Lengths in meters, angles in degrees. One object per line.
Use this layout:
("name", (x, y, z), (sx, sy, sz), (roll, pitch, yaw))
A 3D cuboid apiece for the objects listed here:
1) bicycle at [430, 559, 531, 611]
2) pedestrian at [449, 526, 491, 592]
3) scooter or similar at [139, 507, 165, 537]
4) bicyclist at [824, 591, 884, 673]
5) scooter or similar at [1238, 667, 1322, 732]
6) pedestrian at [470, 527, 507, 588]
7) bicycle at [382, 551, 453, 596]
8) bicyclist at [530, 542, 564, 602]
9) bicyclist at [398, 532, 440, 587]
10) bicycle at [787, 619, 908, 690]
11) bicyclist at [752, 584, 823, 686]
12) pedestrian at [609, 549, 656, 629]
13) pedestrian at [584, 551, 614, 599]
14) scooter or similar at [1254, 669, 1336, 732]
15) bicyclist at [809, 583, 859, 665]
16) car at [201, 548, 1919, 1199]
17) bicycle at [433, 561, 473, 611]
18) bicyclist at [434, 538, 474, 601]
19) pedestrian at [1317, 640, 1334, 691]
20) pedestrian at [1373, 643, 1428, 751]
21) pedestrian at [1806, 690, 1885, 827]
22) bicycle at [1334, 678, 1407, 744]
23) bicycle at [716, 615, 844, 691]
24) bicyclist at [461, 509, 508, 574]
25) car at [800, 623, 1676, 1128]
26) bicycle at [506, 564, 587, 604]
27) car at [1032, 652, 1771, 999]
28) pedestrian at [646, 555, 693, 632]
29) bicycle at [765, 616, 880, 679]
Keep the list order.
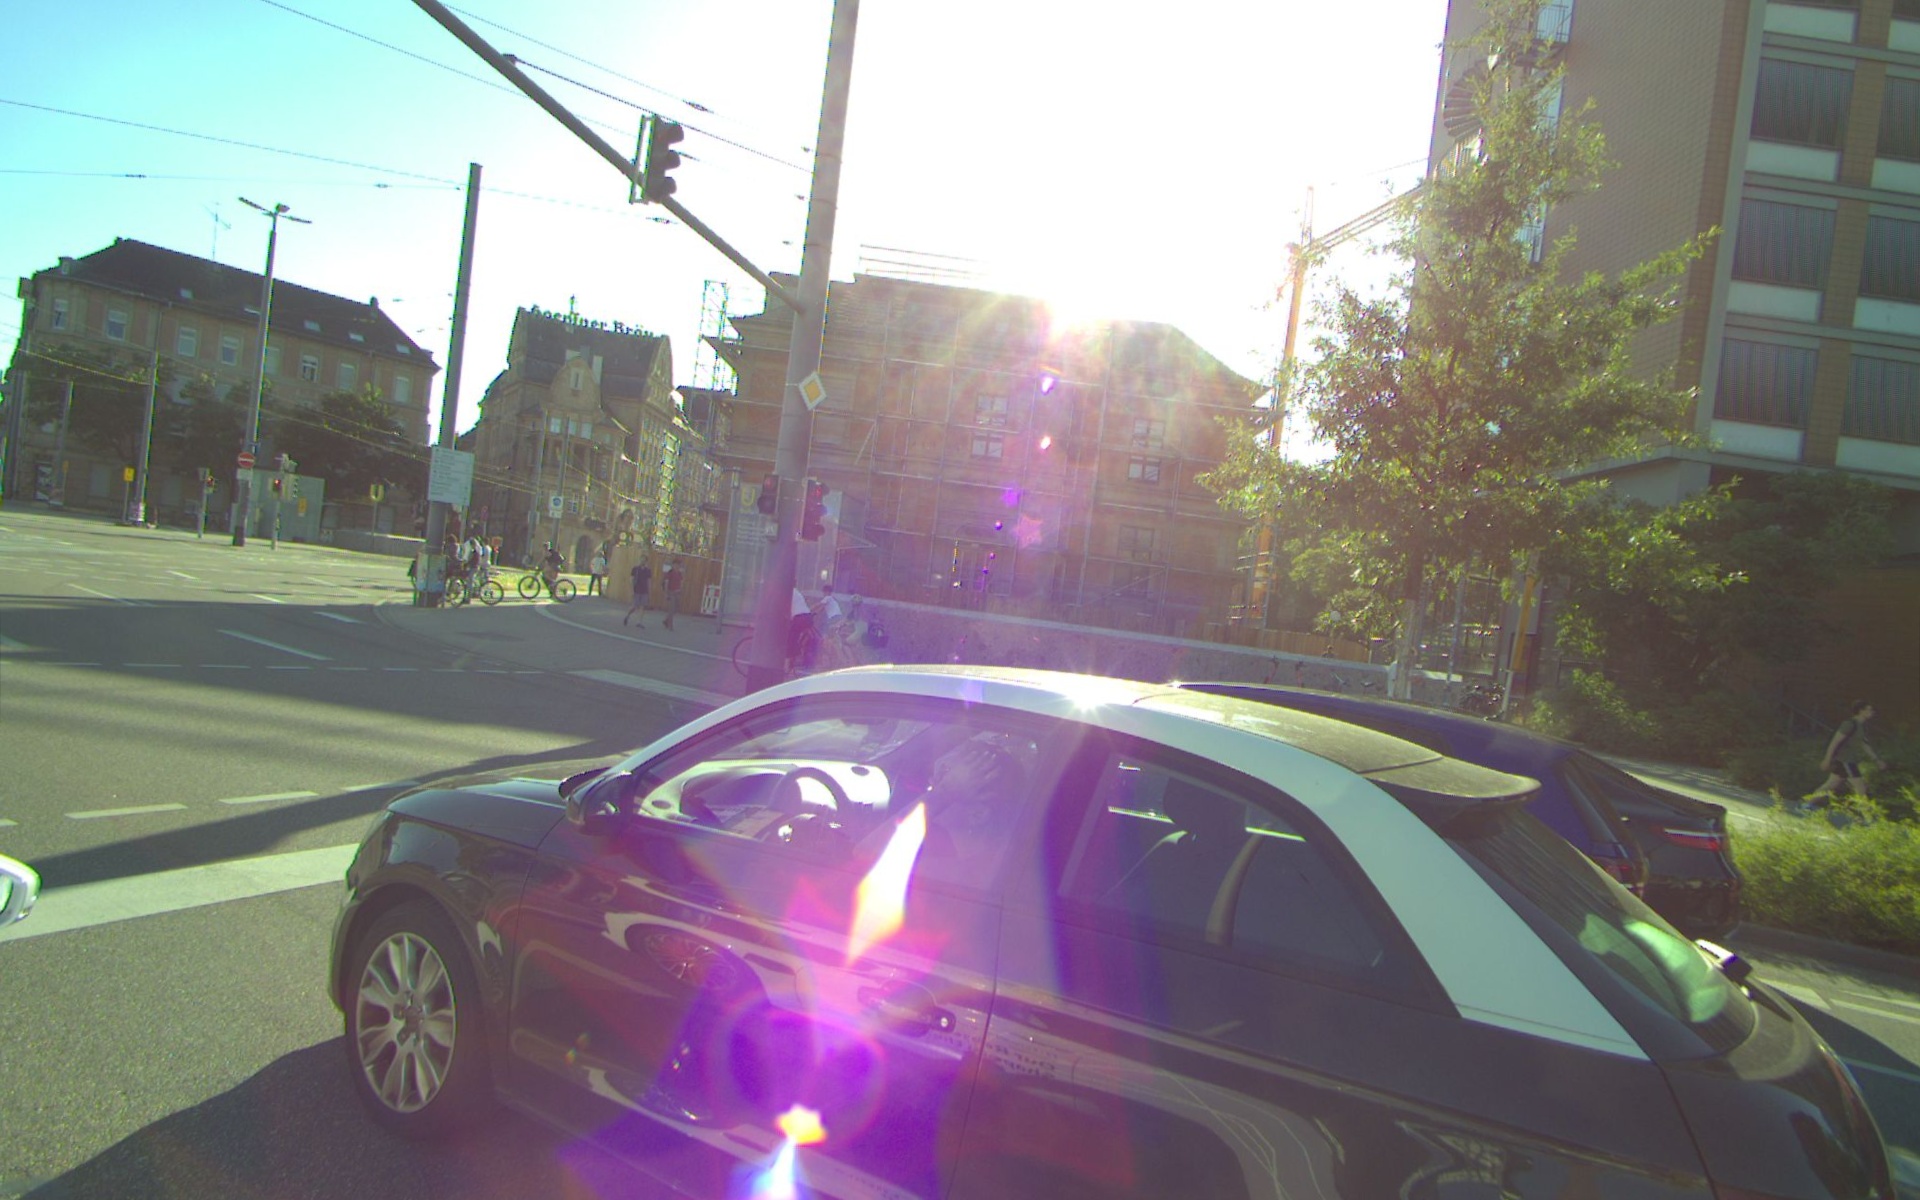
("bicycle", (-12.767, -0.382, 26.817), (2.294, 1.061, 0.696), (9, -2, -28))
("pedestrian", (-16.317, -1.361, 33.533), (0.748, 2.037, 0.733), (7, -1, 25))
("scooter or similar", (-42.186, -4.080, 52.542), (0.784, 1.392, 1.885), (8, -2, -44))
("bicyclist", (-1.856, 0.559, 17.625), (0.662, 1.330, 0.617), (7, -1, 27))
("scooter or similar", (5.932, 1.841, 18.676), (1.348, 1.007, 0.342), (7, -1, 25))
("pedestrian", (-16.036, -1.441, 34.236), (0.678, 1.945, 0.649), (7, -1, 25))
("bicycle", (-16.838, -0.819, 31.201), (2.278, 1.061, 0.536), (8, -1, 24))
("bicyclist", (-13.095, -0.888, 31.903), (0.785, 1.800, 0.520), (8, -1, -23))
("bicyclist", (-16.777, -1.250, 31.203), (0.930, 1.575, 0.516), (7, -1, 23))
("bicycle", (-1.988, 0.940, 17.679), (1.999, 0.976, 0.659), (6, 2, 27))
("bicyclist", (-2.854, 0.576, 16.679), (0.780, 1.573, 0.667), (7, 2, 22))
("pedestrian", (-7.900, -0.263, 24.303), (0.672, 1.830, 0.672), (7, 2, 11))
("pedestrian", (-14.625, -1.007, 40.723), (0.678, 1.835, 0.649), (7, -1, 25))
("scooter or similar", (6.387, 1.910, 19.219), (1.346, 1.007, 0.343), (7, -1, 13))
("bicyclist", (-2.398, 0.468, 19.160), (0.661, 1.471, 0.618), (7, -1, 4))
("car", (-0.200, 0.803, 2.797), (3.934, 1.420, 1.627), (6, -2, 32))
("bicycle", (-12.696, -0.372, 25.143), (0.693, 1.061, 2.303), (9, -1, -29))
("bicyclist", (-12.649, -0.762, 25.131), (0.703, 1.456, 0.940), (8, -1, -30))
("pedestrian", (12.940, 2.307, 35.628), (0.369, 1.752, 0.444), (7, -1, 17))
("pedestrian", (7.164, 1.552, 16.344), (0.592, 1.662, 0.677), (7, 3, 29))
("pedestrian", (13.178, 2.338, 14.973), (0.461, 1.908, 0.687), (8, -1, -41))
("bicycle", (7.318, 1.973, 17.979), (0.352, 1.015, 1.149), (8, -2, -29))
("bicycle", (-3.002, 0.849, 16.692), (1.998, 0.976, 0.659), (7, 3, 24))
("bicyclist", (-12.673, -1.530, 26.795), (0.936, 1.575, 0.705), (8, -1, -27))
("car", (1.253, 1.097, 5.361), (3.934, 1.420, 1.627), (6, -2, 32))
("bicycle", (-13.106, -0.504, 31.894), (2.289, 1.063, 0.532), (5, 2, -25))
("car", (2.971, 1.403, 7.499), (4.435, 1.420, 1.727), (6, -2, 30))
("pedestrian", (-7.232, -0.153, 25.070), (0.672, 1.828, 0.672), (7, -1, 11))
("bicycle", (-2.601, 0.898, 19.148), (1.996, 0.976, 0.660), (5, 2, 5))
